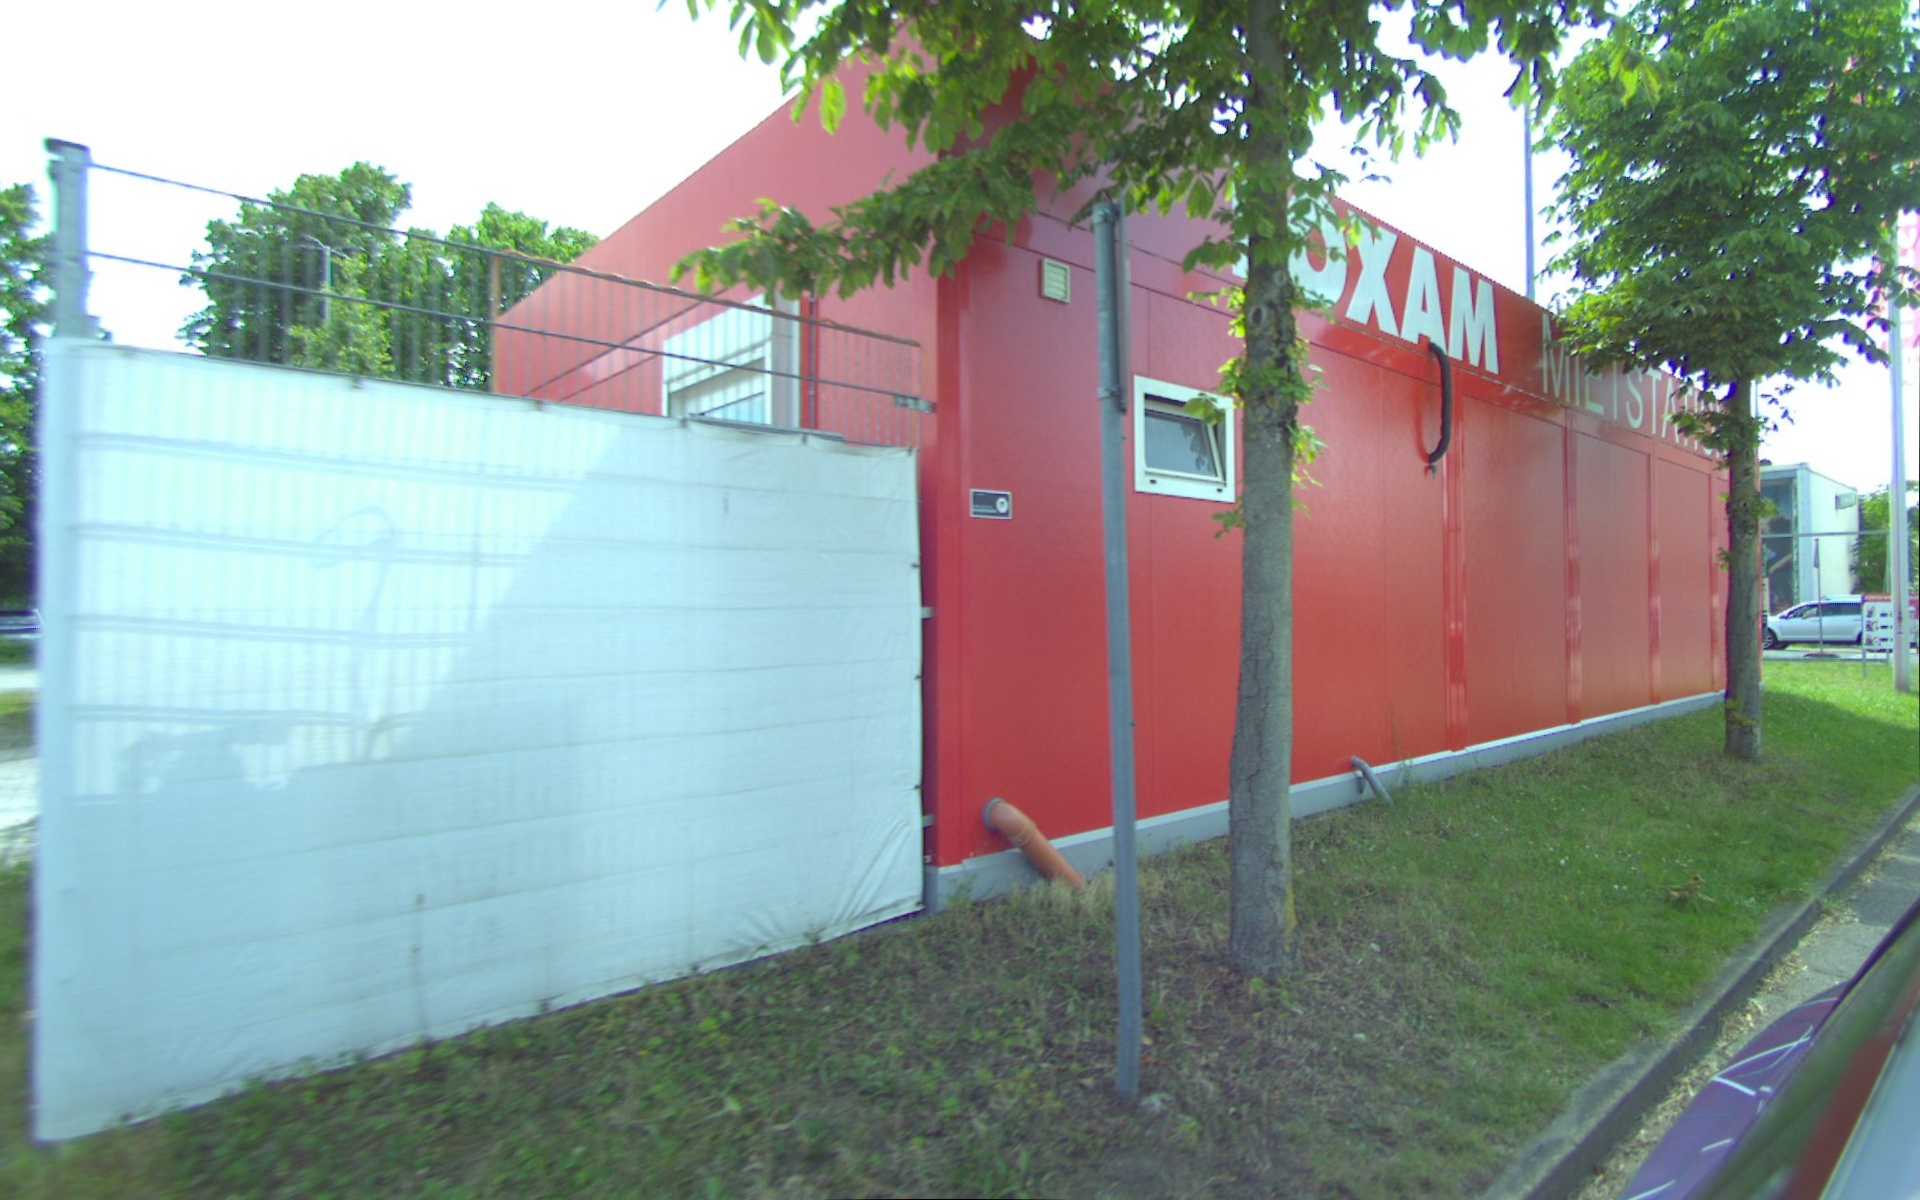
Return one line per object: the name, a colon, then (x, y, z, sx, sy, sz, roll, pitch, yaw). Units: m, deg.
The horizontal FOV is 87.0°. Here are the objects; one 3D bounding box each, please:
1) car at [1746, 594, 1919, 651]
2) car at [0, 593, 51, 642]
car: (28.773, 0.695, 32.967, 1.837, 1.721, 4.828, 1, -1, -43)
car: (-34.262, 0.587, 36.480, 1.868, 1.676, 3.486, -1, 1, -37)
